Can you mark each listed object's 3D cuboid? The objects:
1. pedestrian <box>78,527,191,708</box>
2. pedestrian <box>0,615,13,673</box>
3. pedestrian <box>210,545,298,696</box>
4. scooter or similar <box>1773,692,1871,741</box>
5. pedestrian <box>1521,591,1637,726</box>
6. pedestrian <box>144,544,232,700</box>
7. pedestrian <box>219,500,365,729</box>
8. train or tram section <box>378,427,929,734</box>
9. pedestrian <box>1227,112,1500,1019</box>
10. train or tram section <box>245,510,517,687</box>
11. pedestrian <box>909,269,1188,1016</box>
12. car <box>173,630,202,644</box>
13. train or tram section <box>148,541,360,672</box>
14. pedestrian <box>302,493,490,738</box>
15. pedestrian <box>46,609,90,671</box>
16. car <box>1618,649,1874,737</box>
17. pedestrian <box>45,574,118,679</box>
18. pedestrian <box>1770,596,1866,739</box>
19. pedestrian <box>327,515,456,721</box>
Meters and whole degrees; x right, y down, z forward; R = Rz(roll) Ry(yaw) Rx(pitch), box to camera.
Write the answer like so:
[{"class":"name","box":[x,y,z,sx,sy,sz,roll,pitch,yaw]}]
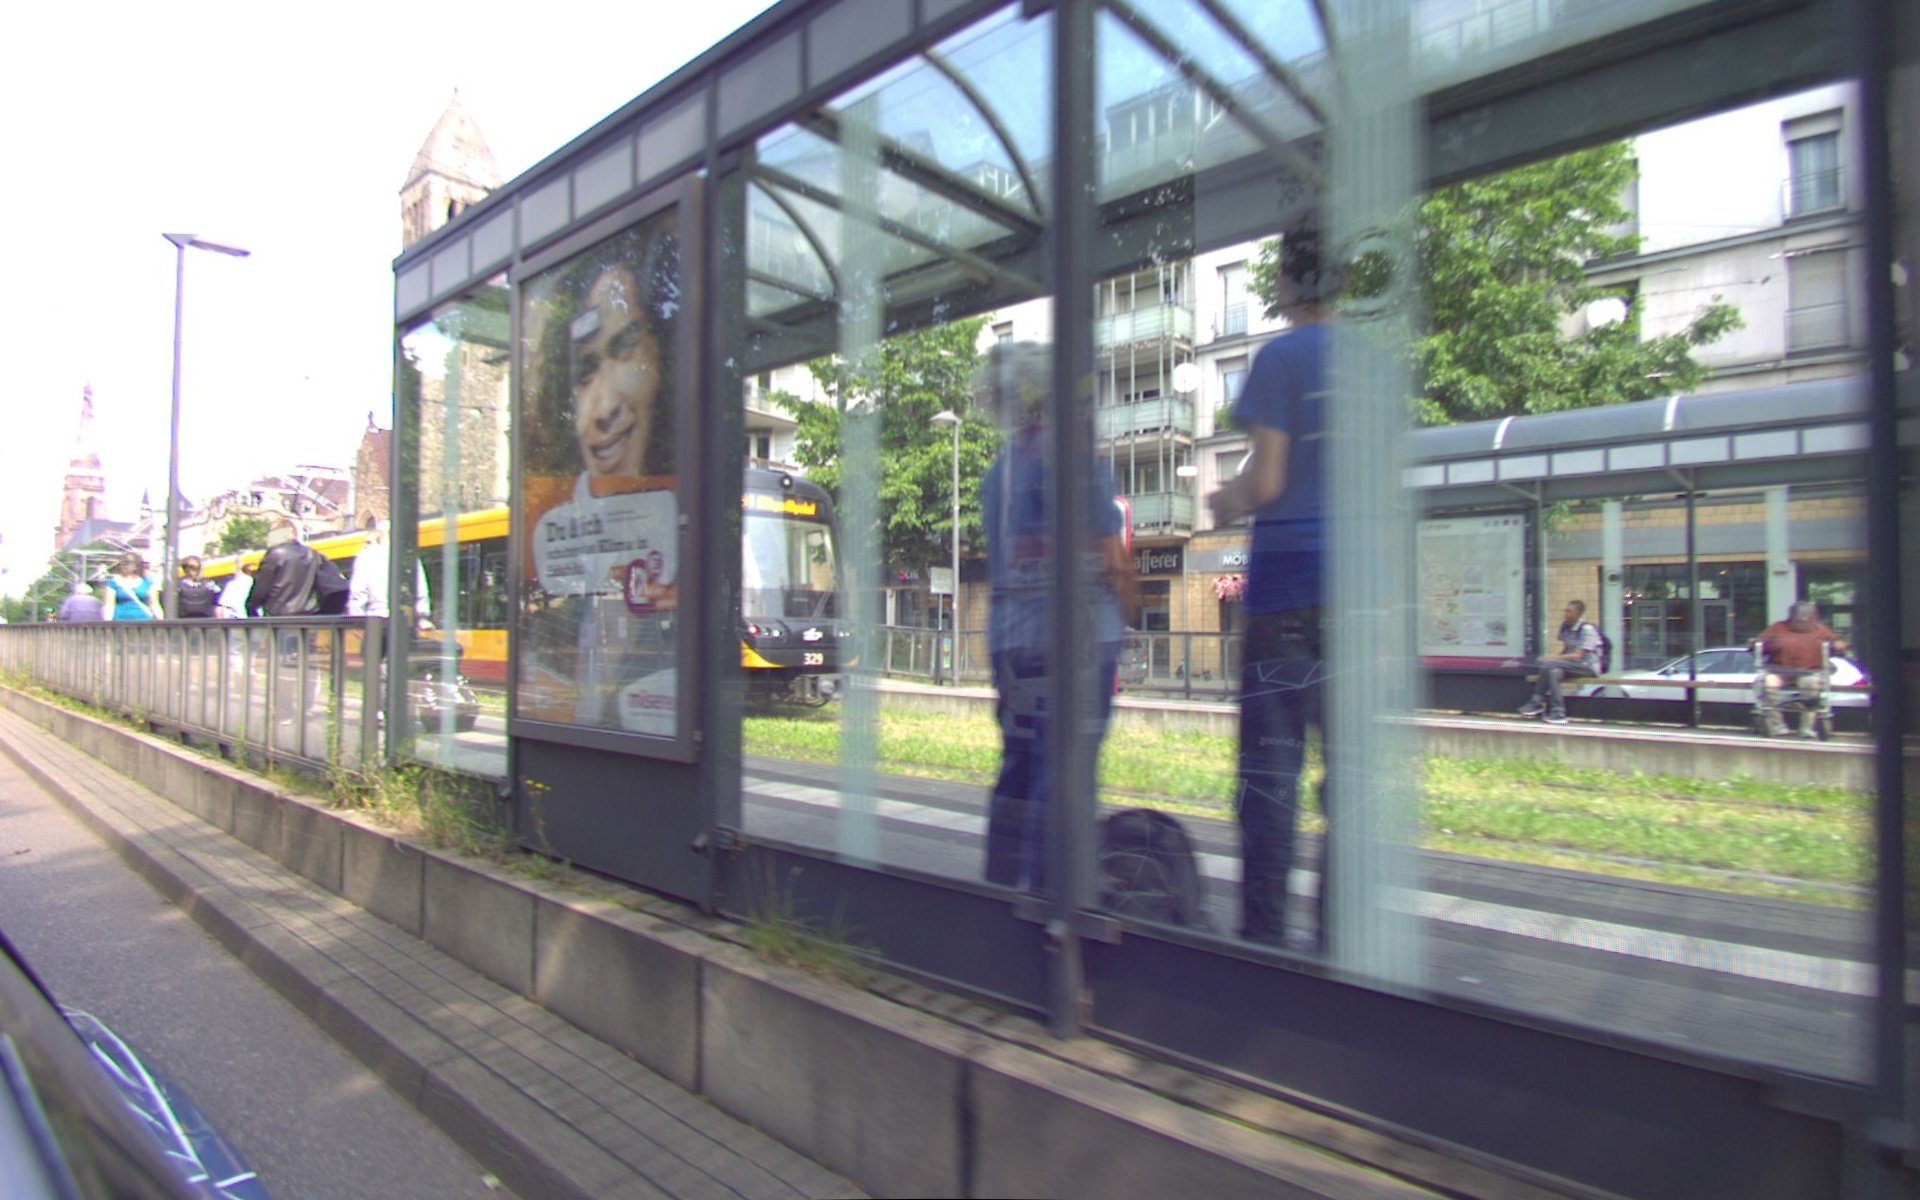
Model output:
[{"class":"pedestrian","box":[-9.199,0.199,11.280,0.846,1.913,0.818,-1,-2,42]},{"class":"pedestrian","box":[-27.920,1.266,29.196,0.615,1.678,0.678,1,-2,-22]},{"class":"pedestrian","box":[-9.138,0.267,13.098,0.907,1.863,0.694,-1,-3,41]},{"class":"scooter or similar","box":[7.357,0.989,8.648,0.618,0.369,0.405,-2,-4,41]},{"class":"pedestrian","box":[6.362,0.595,10.403,0.878,1.311,0.821,-2,-4,41]},{"class":"pedestrian","box":[-9.598,0.277,12.582,0.789,1.863,0.694,-1,-3,41]},{"class":"pedestrian","box":[-5.940,0.139,8.997,1.030,1.887,0.802,-2,-3,41]},{"class":"train or tram section","box":[-6.132,-0.077,17.294,13.012,3.611,2.694,-2,-2,42]},{"class":"pedestrian","box":[0.933,-0.079,2.438,0.533,1.915,0.469,-1,-3,18]},{"class":"train or tram section","box":[-14.743,0.106,25.215,10.401,3.611,2.766,-2,-2,42]},{"class":"pedestrian","box":[0.227,0.095,2.597,0.537,1.654,0.465,-2,-3,41]},{"class":"car","box":[-80.998,3.873,106.152,3.837,1.507,1.764,-2,-3,43]},{"class":"train or tram section","box":[-23.443,0.339,33.113,13.012,3.611,2.777,-2,-2,42]},{"class":"pedestrian","box":[-4.658,0.140,8.339,1.494,1.814,0.877,-2,-3,41]},{"class":"pedestrian","box":[-26.479,1.183,30.046,1.045,1.794,0.839,-2,-3,42]},{"class":"car","box":[14.028,1.591,18.172,3.476,1.382,1.701,-2,-3,42]},{"class":"pedestrian","box":[-15.574,0.470,17.947,0.876,1.788,0.848,-1,-2,42]},{"class":"pedestrian","box":[7.758,0.604,9.158,0.618,1.223,0.657,-2,-4,41]},{"class":"pedestrian","box":[-5.373,0.175,9.558,1.132,1.814,0.704,-2,-3,41]}]
